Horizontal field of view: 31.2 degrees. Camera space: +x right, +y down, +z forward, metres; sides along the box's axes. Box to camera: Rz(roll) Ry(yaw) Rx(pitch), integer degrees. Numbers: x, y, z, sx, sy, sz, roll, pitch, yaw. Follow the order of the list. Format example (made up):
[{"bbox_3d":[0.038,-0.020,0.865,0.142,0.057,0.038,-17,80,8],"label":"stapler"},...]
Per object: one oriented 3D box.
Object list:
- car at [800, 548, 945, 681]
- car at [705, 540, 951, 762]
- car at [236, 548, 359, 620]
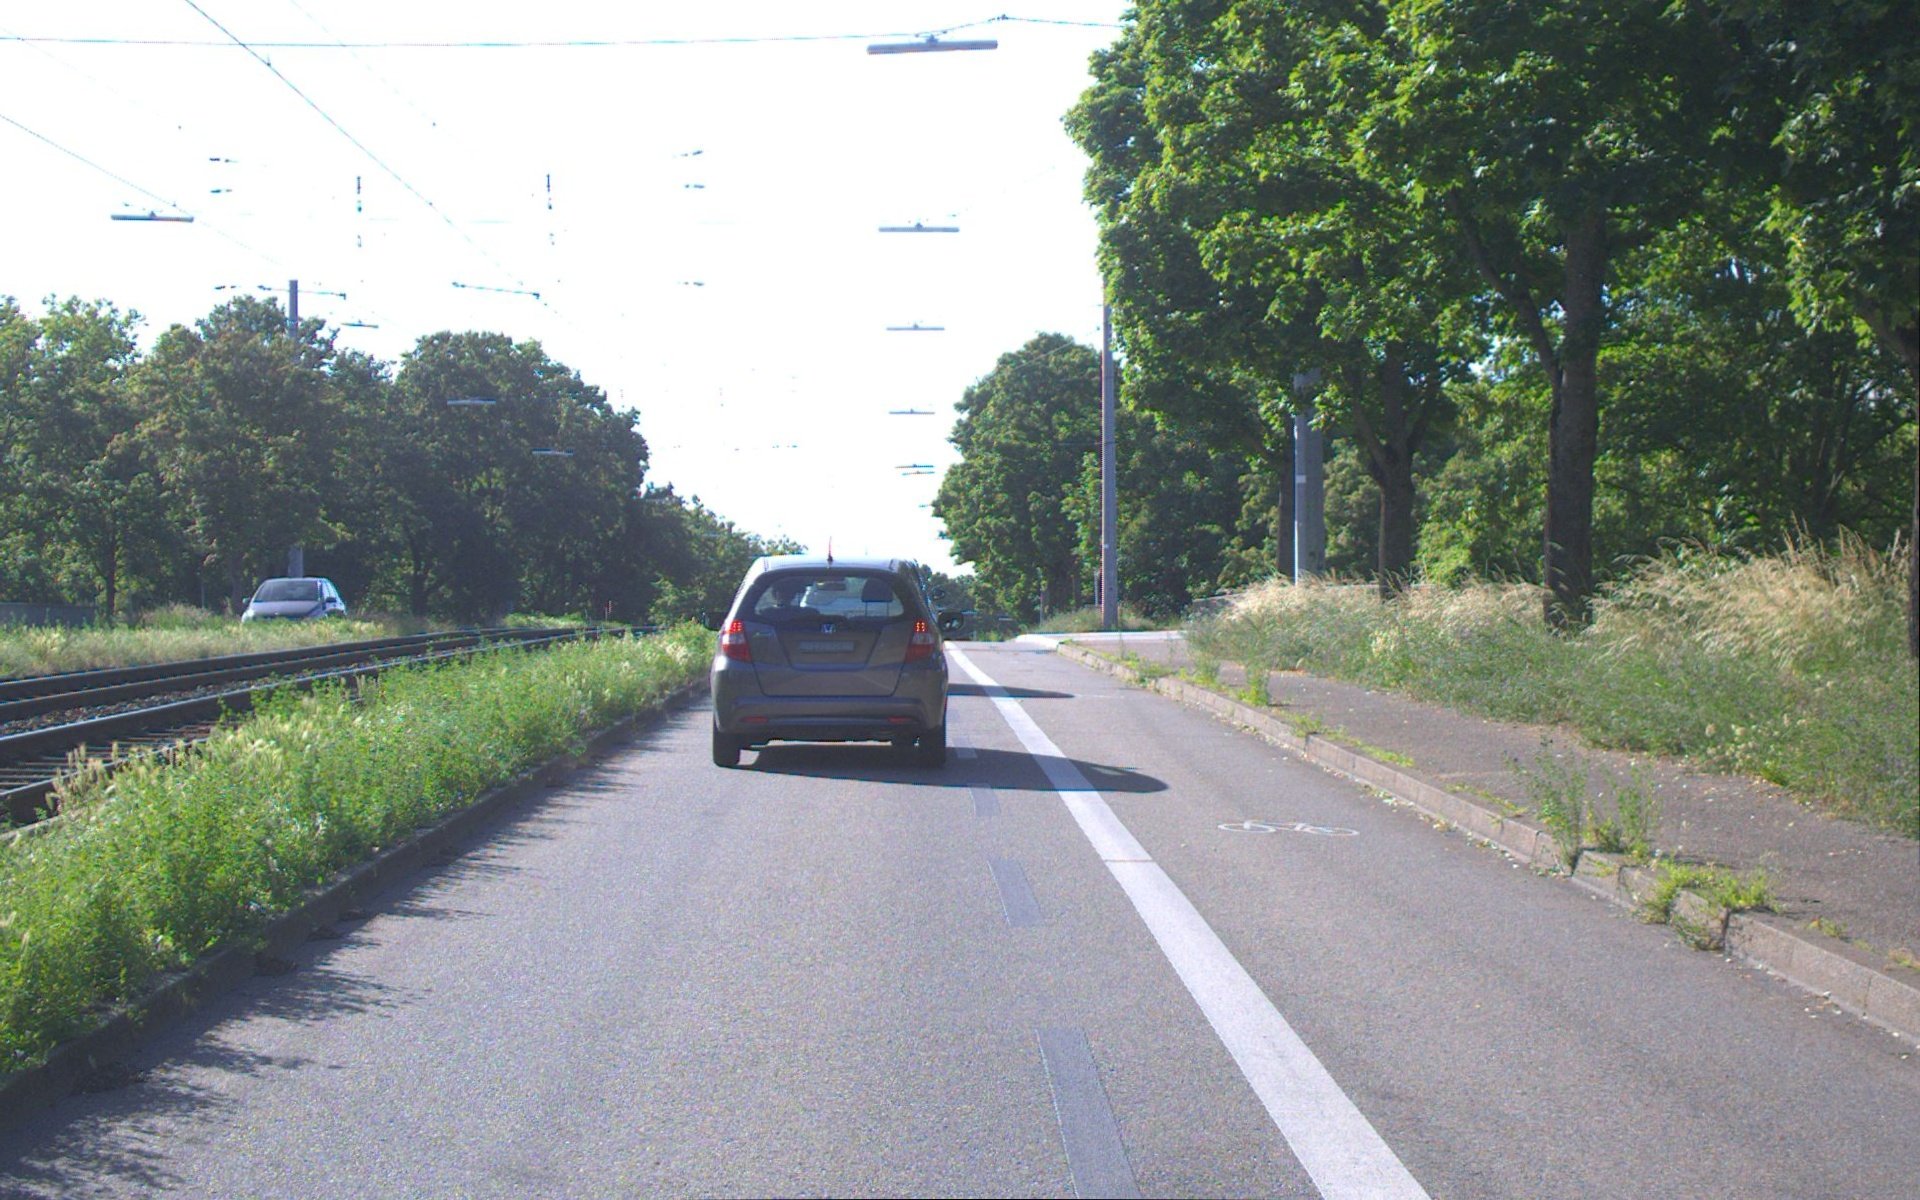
[{"bbox_3d":[-1.028,0.140,41.973,1.654,1.502,3.811,1,1,0],"label":"car"},{"bbox_3d":[-0.924,0.320,25.682,1.670,1.502,3.811,1,1,0],"label":"car"},{"bbox_3d":[-14.472,-0.370,75.309,1.809,1.483,4.406,1,1,0],"label":"car"}]
